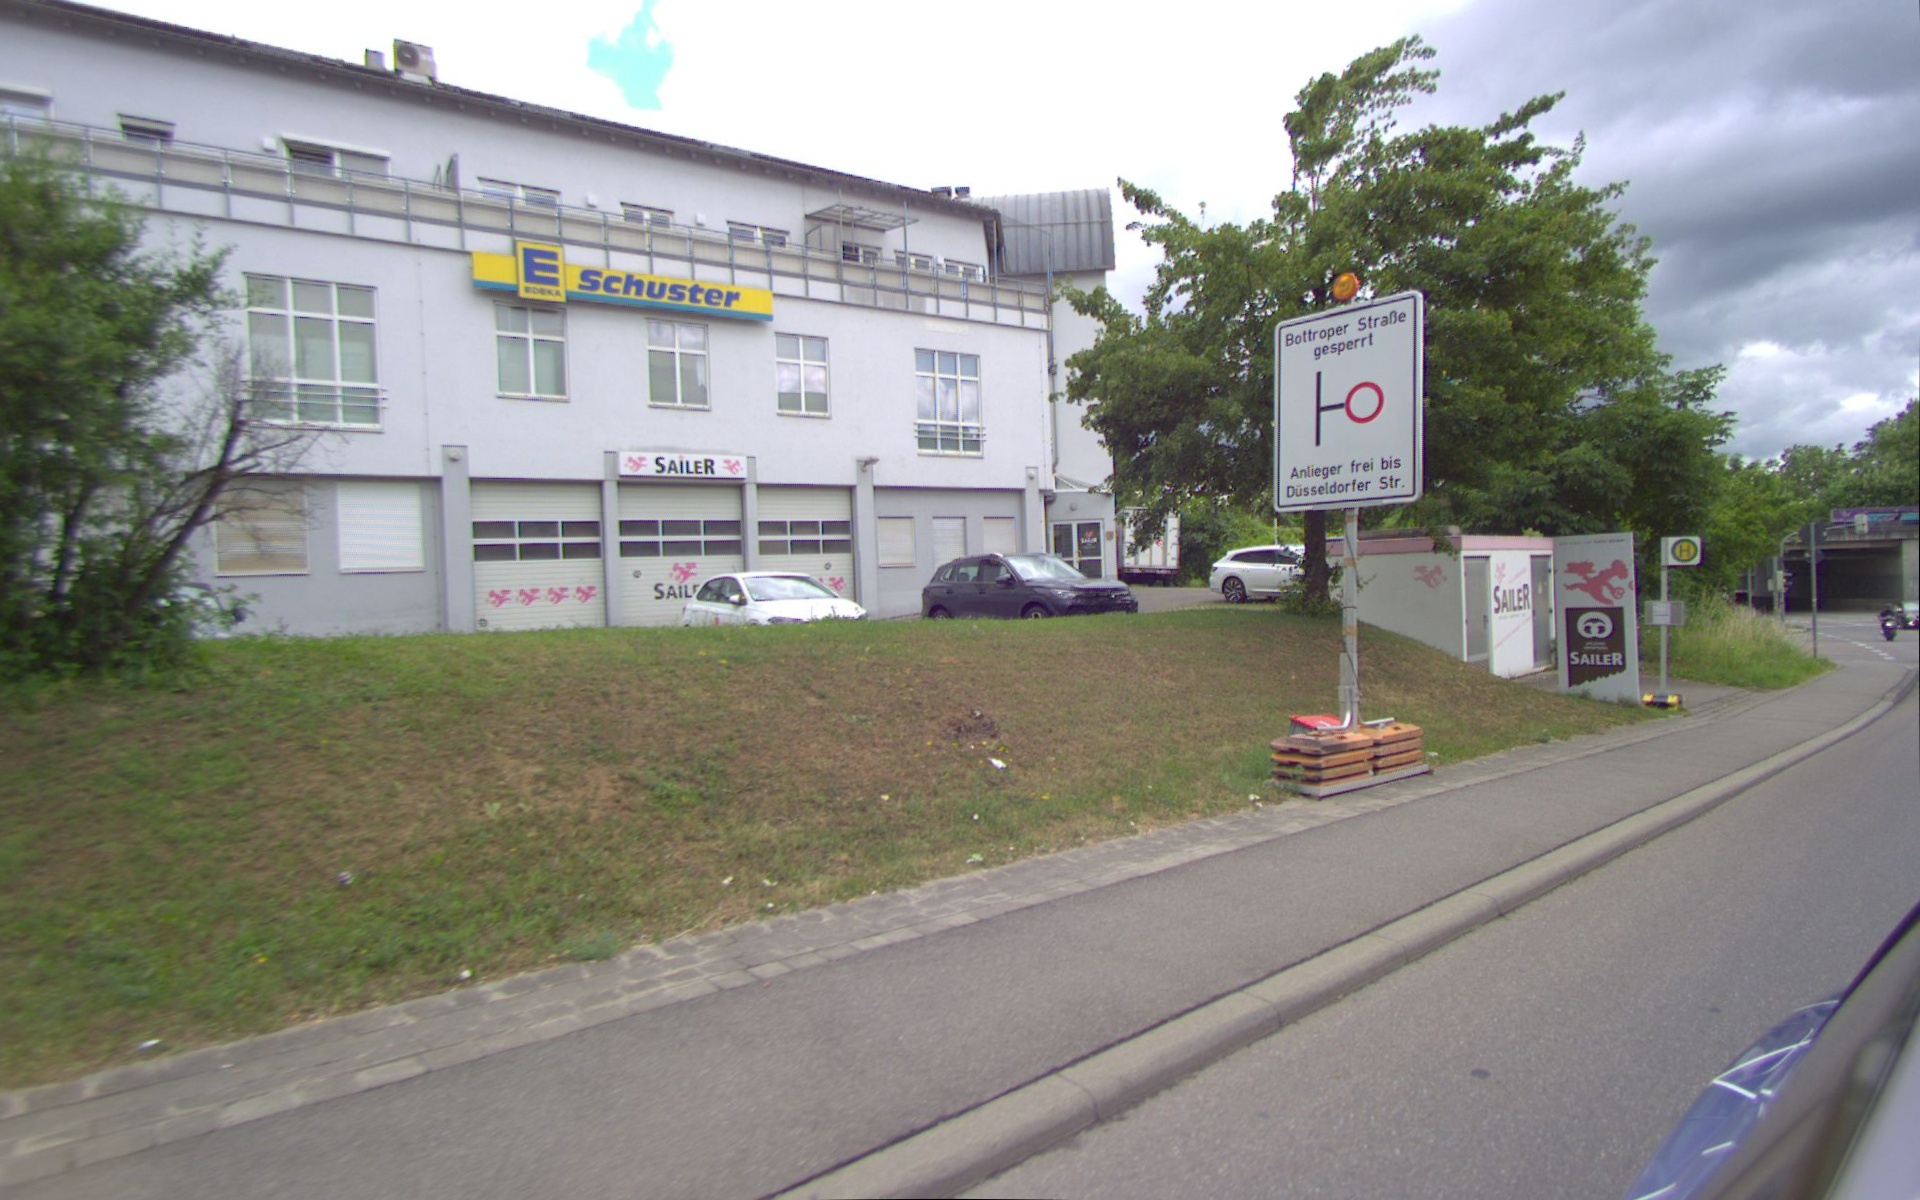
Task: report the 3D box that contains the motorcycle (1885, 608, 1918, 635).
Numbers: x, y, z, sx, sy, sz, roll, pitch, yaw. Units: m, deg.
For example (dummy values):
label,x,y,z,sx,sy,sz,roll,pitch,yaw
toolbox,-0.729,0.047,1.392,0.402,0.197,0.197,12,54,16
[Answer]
label,x,y,z,sx,sy,sz,roll,pitch,yaw
motorcycle,41.982,0.940,45.151,0.878,1.118,2.327,-4,-1,39

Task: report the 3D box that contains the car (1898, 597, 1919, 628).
label,x,y,z,sx,sy,sz,roll,pitch,yaw
car,52.518,0.632,54.770,1.747,1.553,4.205,-4,-1,33

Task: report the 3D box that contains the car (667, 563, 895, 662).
label,x,y,z,sx,sy,sz,roll,pitch,yaw
car,-2.819,0.137,15.292,1.836,1.248,3.883,-3,2,-37

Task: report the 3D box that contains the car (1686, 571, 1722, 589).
label,x,y,z,sx,sy,sz,roll,pitch,yaw
car,81.168,-2.152,110.440,1.940,1.814,3.975,-3,-1,19

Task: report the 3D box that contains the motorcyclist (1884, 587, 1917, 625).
label,x,y,z,sx,sy,sz,roll,pitch,yaw
motorcyclist,41.825,0.280,45.008,0.878,1.626,1.226,-4,-2,39

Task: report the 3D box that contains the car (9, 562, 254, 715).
label,x,y,z,sx,sy,sz,roll,pitch,yaw
car,-9.165,0.330,11.377,1.802,1.369,3.882,-3,2,-38

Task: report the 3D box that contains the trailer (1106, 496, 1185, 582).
label,x,y,z,sx,sy,sz,roll,pitch,yaw
trailer,7.793,-2.469,43.293,2.427,3.094,6.485,-3,-1,4

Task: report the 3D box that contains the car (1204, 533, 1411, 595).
label,x,y,z,sx,sy,sz,roll,pitch,yaw
car,8.450,-0.842,25.027,1.684,1.398,4.709,-3,2,-36

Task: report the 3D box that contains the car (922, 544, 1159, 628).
label,x,y,z,sx,sy,sz,roll,pitch,yaw
car,1.262,-0.248,17.481,1.877,1.248,4.049,-3,2,-37

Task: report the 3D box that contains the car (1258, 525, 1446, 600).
label,x,y,z,sx,sy,sz,roll,pitch,yaw
car,10.396,-0.963,27.195,1.795,1.659,4.515,-2,-1,-30
